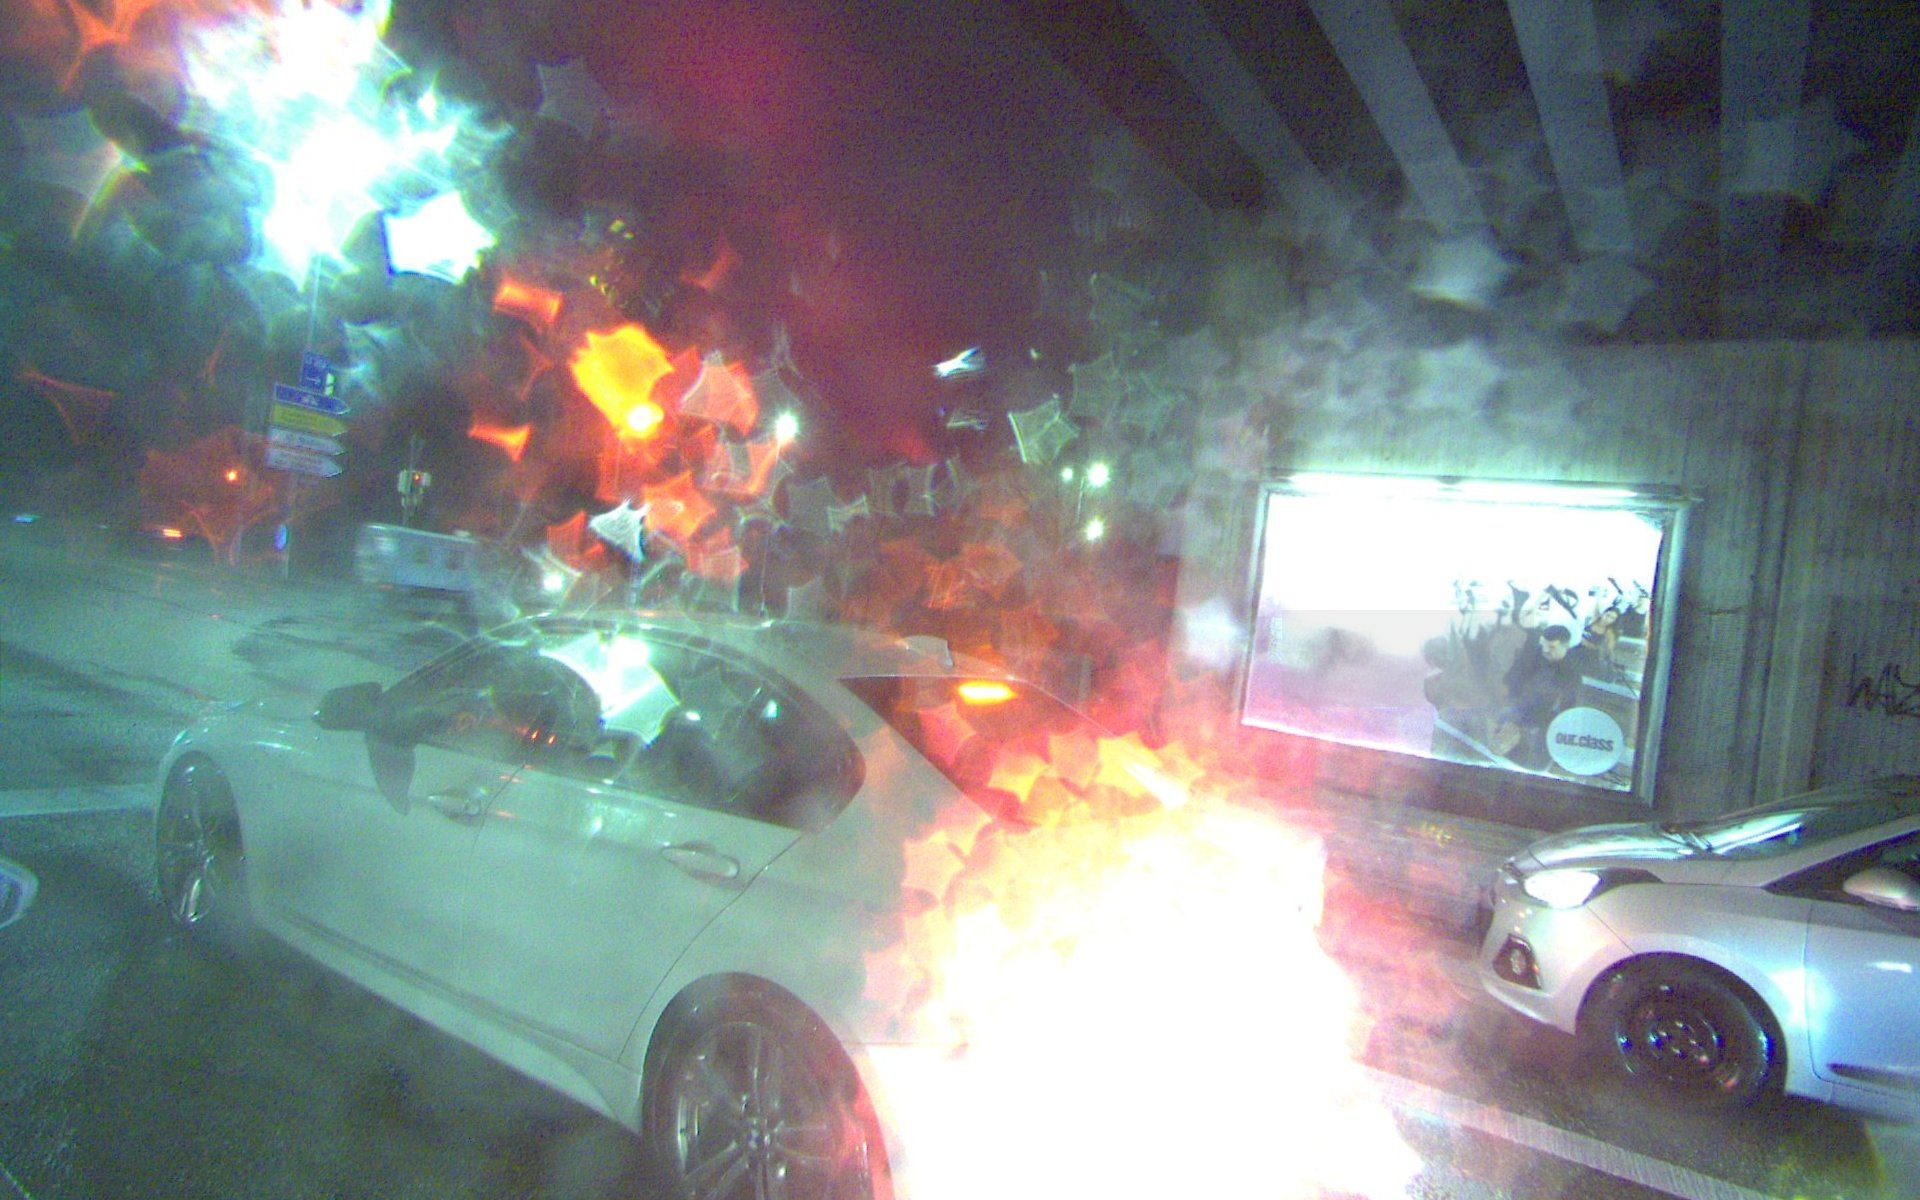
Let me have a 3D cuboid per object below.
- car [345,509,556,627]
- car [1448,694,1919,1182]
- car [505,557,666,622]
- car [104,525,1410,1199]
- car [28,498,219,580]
[{"bbox_3d":[-10.985,-0.637,21.898,1.677,2.037,3.559,6,-2,35],"label":"car"},{"bbox_3d":[4.323,1.404,3.962,4.092,1.465,1.722,6,0,31],"label":"car"},{"bbox_3d":[-12.820,-0.331,34.736,1.826,1.609,4.850,6,-2,38],"label":"car"},{"bbox_3d":[-0.944,0.692,3.494,4.309,1.465,1.722,6,0,31],"label":"car"},{"bbox_3d":[-24.861,-1.789,30.003,1.880,1.801,3.986,6,-2,38],"label":"car"}]
